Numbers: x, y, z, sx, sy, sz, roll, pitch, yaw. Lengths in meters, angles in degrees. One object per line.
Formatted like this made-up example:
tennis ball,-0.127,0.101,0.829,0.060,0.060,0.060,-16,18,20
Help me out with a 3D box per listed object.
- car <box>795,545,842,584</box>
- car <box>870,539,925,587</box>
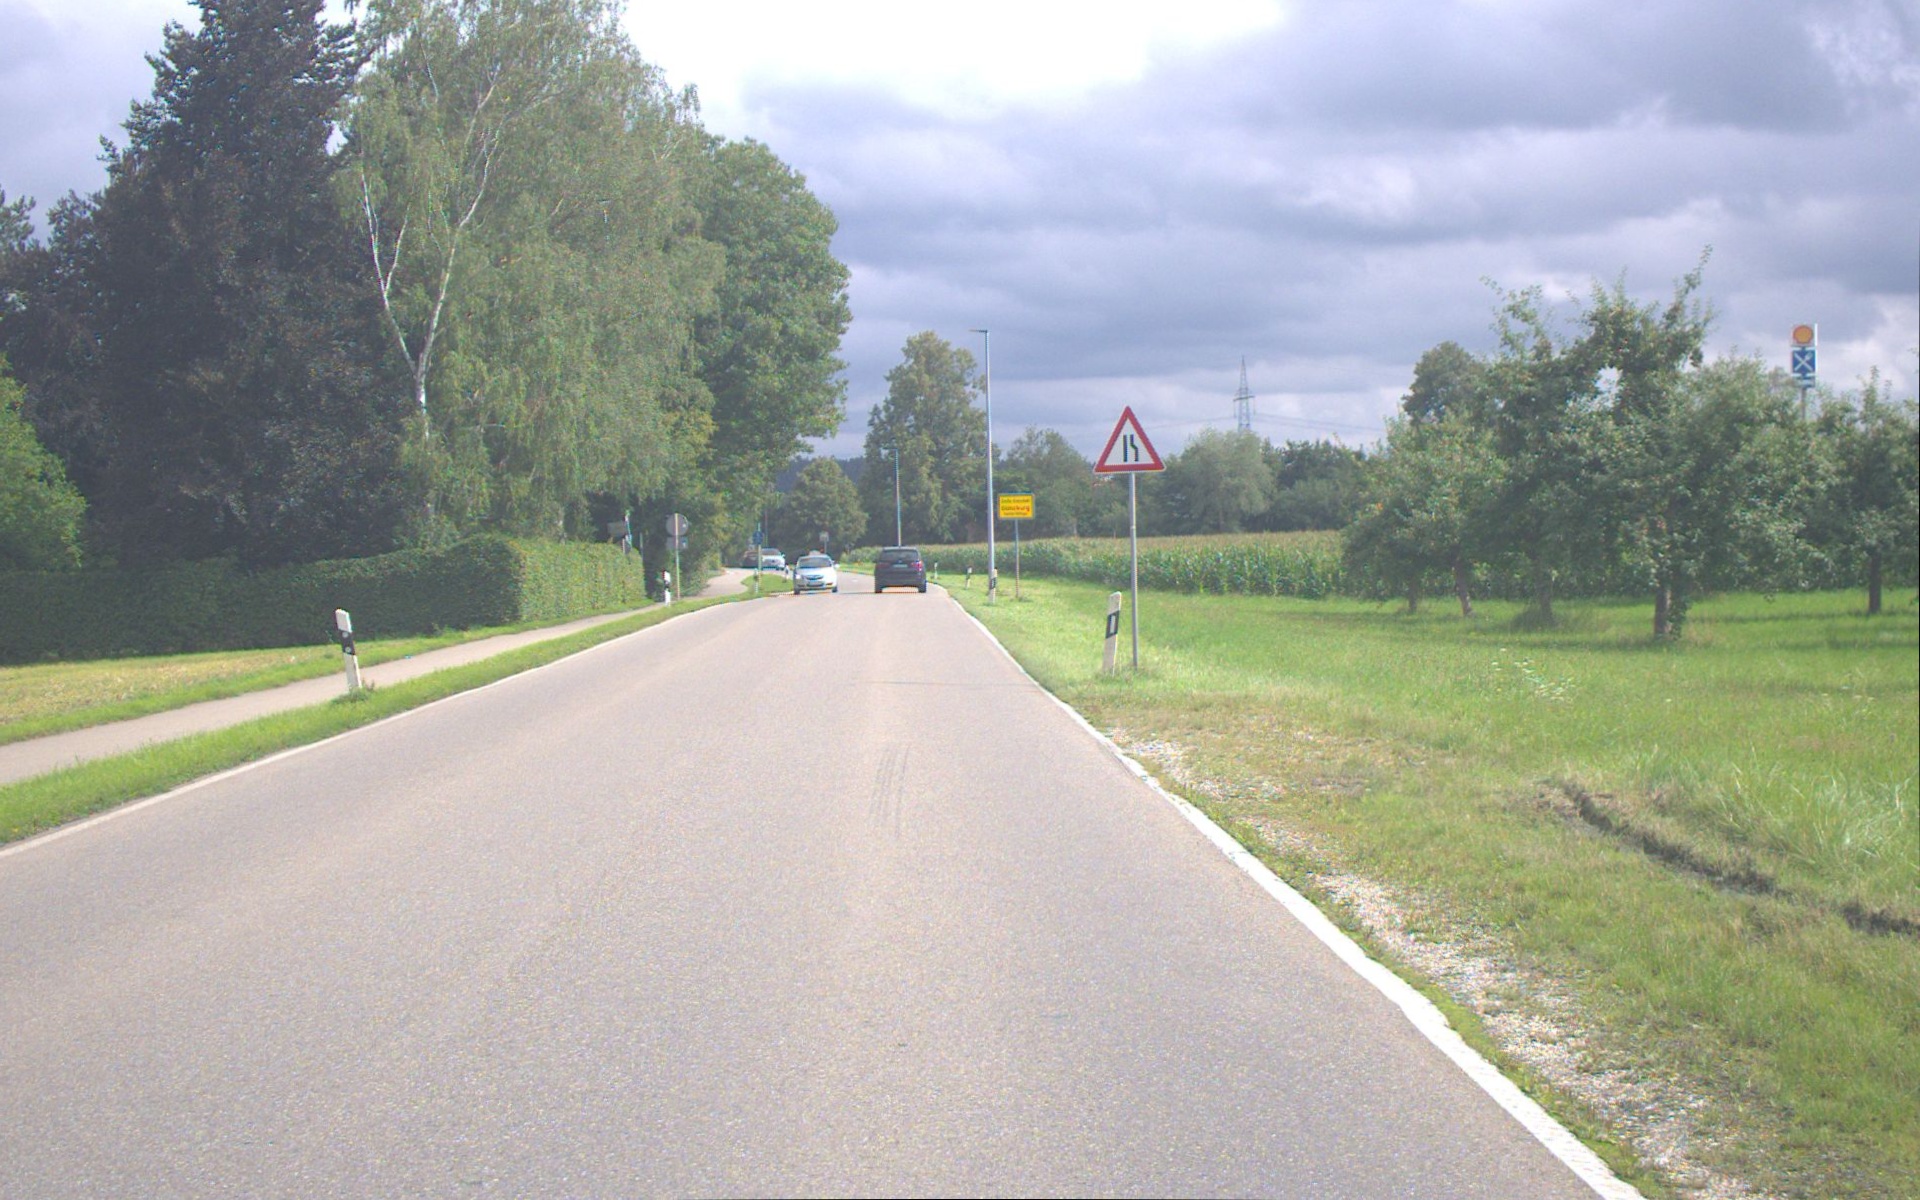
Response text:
car,-5.470,-1.370,133.469,1.695,1.454,3.543,-1,1,-1
car,-2.261,-1.344,124.803,1.906,1.660,4.000,-2,1,-1
